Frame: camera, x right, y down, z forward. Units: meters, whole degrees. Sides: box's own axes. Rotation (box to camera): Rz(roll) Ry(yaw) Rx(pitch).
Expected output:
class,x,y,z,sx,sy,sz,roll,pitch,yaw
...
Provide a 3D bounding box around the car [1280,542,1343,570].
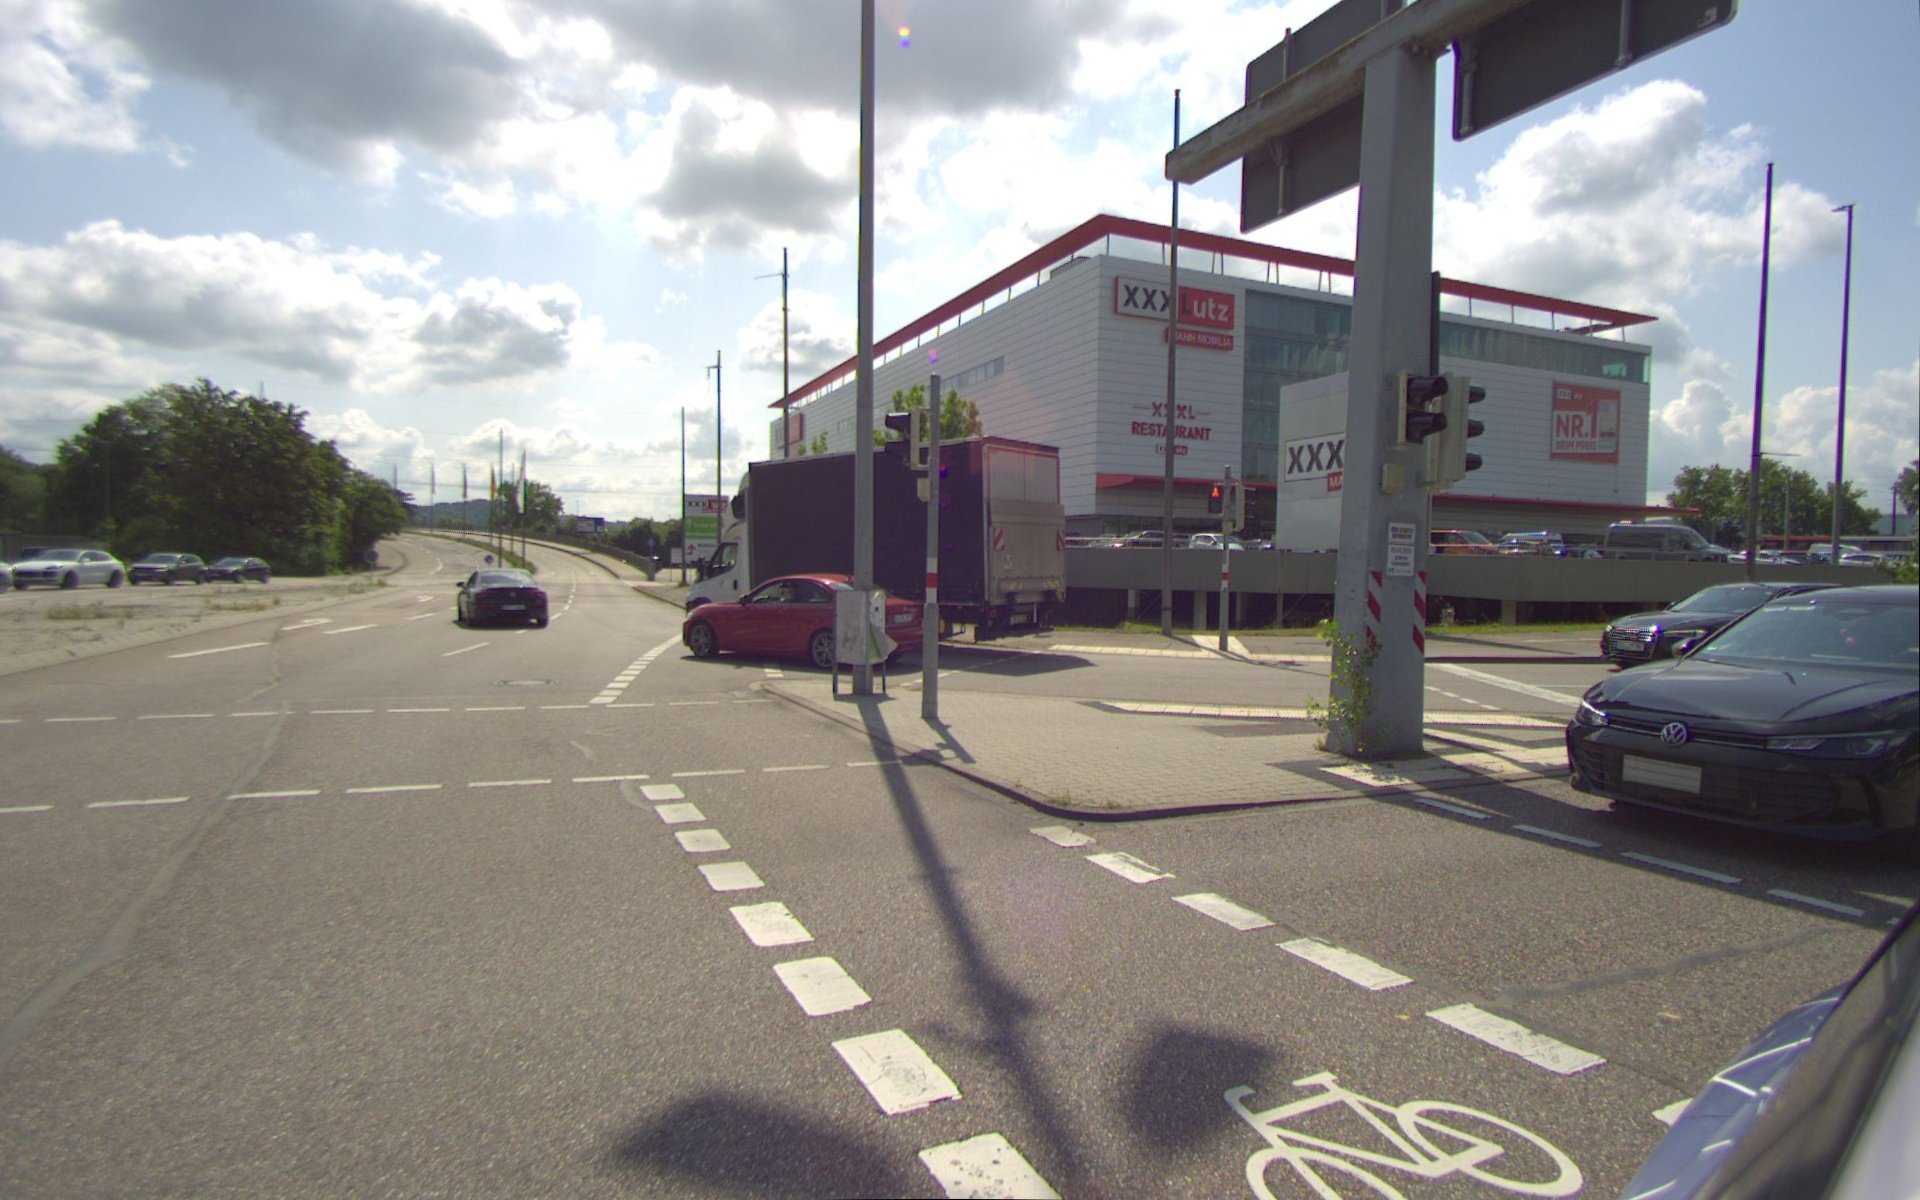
class,x,y,z,sx,sy,sz,roll,pitch,yaw
car,24.164,-3.016,69.697,1.877,1.772,4.008,-1,1,-23

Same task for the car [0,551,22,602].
class,x,y,z,sx,sy,sz,roll,pitch,yaw
car,-36.183,-0.839,36.234,1.790,1.861,4.735,-1,1,-15

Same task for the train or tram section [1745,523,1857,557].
class,x,y,z,sx,sy,sz,roll,pitch,yaw
train or tram section,130.653,-9.215,157.540,3.655,4.617,13.130,-1,1,-24

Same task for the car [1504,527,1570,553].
class,x,y,z,sx,sy,sz,roll,pitch,yaw
car,43.499,-4.472,76.370,1.877,1.772,4.008,-1,1,-23

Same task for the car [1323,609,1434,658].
class,x,y,z,sx,sy,sz,roll,pitch,yaw
car,16.682,1.299,40.367,3.918,1.771,2.004,-1,1,-26

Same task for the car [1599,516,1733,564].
class,x,y,z,sx,sy,sz,roll,pitch,yaw
car,37.751,-3.133,54.350,1.713,2.312,5.809,-1,1,-25

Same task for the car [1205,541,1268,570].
class,x,y,z,sx,sy,sz,roll,pitch,yaw
car,18.032,-2.895,66.125,1.877,1.772,4.008,-1,1,-23

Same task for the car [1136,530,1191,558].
class,x,y,z,sx,sy,sz,roll,pitch,yaw
car,14.594,-4.015,72.896,1.528,1.846,4.431,0,1,-25

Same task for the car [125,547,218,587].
class,x,y,z,sx,sy,sz,roll,pitch,yaw
car,-39.007,-1.610,50.205,1.790,1.861,4.454,-1,1,-11

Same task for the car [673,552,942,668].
class,x,y,z,sx,sy,sz,roll,pitch,yaw
car,-2.534,0.121,16.508,4.187,1.676,1.843,0,1,33

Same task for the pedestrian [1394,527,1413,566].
class,x,y,z,sx,sy,sz,roll,pitch,yaw
pedestrian,23.624,-2.855,53.936,0.901,2.039,0.701,0,0,23

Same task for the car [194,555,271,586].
class,x,y,z,sx,sy,sz,roll,pitch,yaw
car,-40.625,-1.642,56.643,1.790,1.634,4.454,-1,1,-11

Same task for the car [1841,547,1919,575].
class,x,y,z,sx,sy,sz,roll,pitch,yaw
car,56.568,-2.321,61.315,1.914,1.625,4.432,0,1,-23

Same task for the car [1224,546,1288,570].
class,x,y,z,sx,sy,sz,roll,pitch,yaw
car,19.622,-2.761,67.179,1.528,1.489,4.431,0,1,-25

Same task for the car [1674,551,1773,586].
class,x,y,z,sx,sy,sz,roll,pitch,yaw
car,41.661,-1.694,55.295,1.713,1.816,4.008,-1,1,-21

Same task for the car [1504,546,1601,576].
class,x,y,z,sx,sy,sz,roll,pitch,yaw
car,32.961,-2.135,56.449,1.914,1.625,4.433,0,1,-21

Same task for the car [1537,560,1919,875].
class,x,y,z,sx,sy,sz,roll,pitch,yaw
car,6.400,0.515,6.616,5.095,1.496,1.818,-1,1,-23

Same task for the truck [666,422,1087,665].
class,x,y,z,sx,sy,sz,roll,pitch,yaw
truck,-2.064,-0.997,21.070,9.022,4.077,3.179,0,1,39

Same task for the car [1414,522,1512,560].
class,x,y,z,sx,sy,sz,roll,pitch,yaw
car,26.043,-3.042,52.545,1.881,1.772,4.188,-1,1,-35

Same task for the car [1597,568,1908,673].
class,x,y,z,sx,sy,sz,roll,pitch,yaw
car,12.577,0.258,16.064,4.581,1.496,1.783,0,1,-21

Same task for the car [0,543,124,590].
class,x,y,z,sx,sy,sz,roll,pitch,yaw
car,-37.649,-1.382,42.543,1.790,1.861,4.723,-1,1,-11

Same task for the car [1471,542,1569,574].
class,x,y,z,sx,sy,sz,roll,pitch,yaw
car,30.552,-2.257,55.343,1.914,1.625,4.432,0,1,-23

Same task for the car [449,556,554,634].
class,x,y,z,sx,sy,sz,roll,pitch,yaw
car,-11.535,-0.037,25.304,1.828,1.677,4.219,1,-4,-32

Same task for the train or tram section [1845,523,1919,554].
class,x,y,z,sx,sy,sz,roll,pitch,yaw
train or tram section,136.112,-8.849,145.279,3.655,4.423,13.136,-1,3,-24

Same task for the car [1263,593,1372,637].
class,x,y,z,sx,sy,sz,roll,pitch,yaw
car,15.357,0.596,43.451,4.274,1.771,2.004,-1,1,-26

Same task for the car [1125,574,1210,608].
class,x,y,z,sx,sy,sz,roll,pitch,yaw
car,11.431,-0.521,55.758,4.274,1.771,2.004,-1,1,-26

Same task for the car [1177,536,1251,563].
class,x,y,z,sx,sy,sz,roll,pitch,yaw
car,15.075,-2.968,60.290,1.914,1.489,4.431,-1,1,-25
